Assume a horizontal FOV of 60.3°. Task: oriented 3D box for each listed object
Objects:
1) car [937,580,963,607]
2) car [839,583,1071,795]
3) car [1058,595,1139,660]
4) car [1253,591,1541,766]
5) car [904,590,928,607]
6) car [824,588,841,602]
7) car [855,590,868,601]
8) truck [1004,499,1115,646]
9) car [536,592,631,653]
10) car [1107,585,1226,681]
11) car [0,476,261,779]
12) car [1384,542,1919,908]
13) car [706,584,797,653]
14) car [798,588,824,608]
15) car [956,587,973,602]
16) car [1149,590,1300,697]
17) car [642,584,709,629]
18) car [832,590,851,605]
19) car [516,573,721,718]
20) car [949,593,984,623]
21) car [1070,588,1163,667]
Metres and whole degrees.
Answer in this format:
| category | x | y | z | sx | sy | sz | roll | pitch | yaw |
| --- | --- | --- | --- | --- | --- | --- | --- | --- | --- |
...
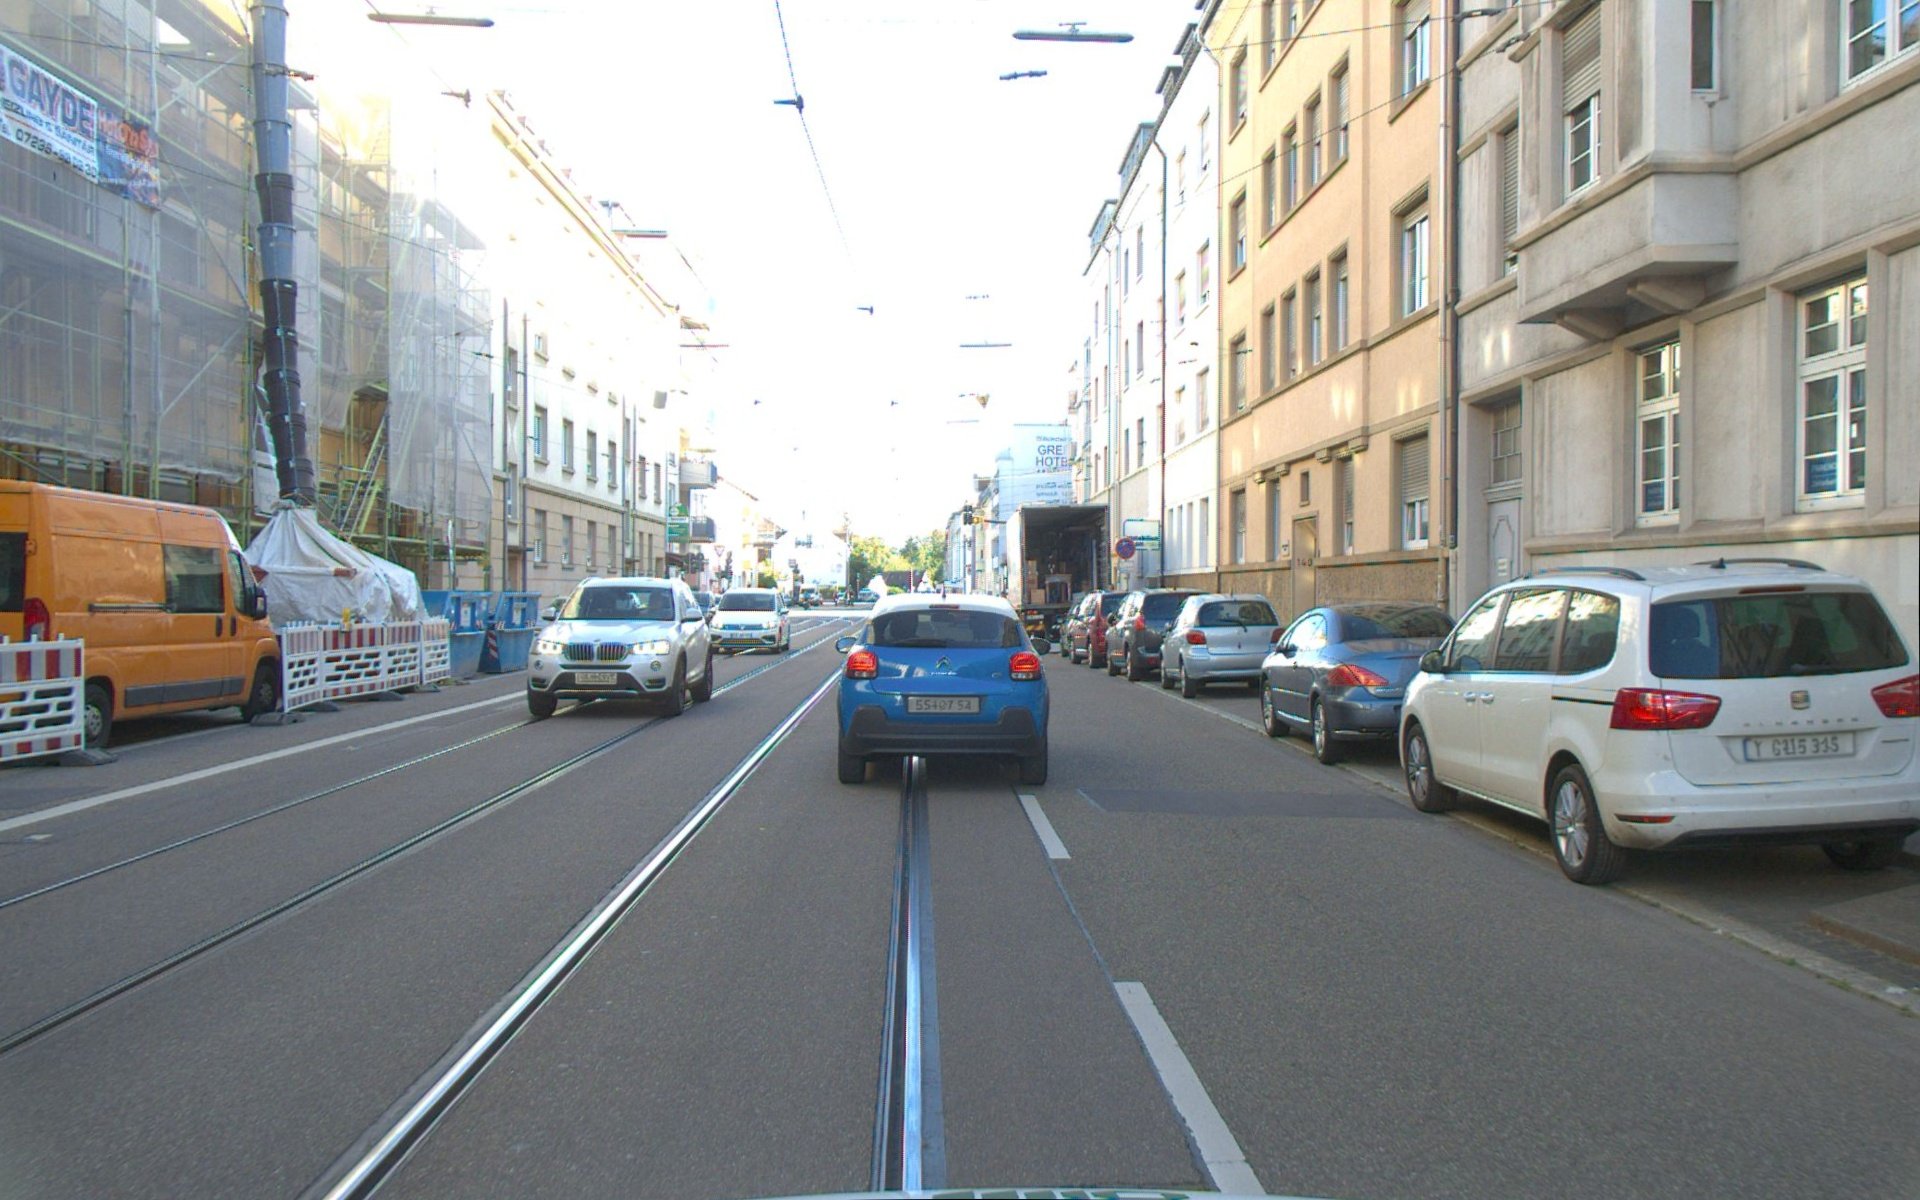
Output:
| category | x | y | z | sx | sy | sz | roll | pitch | yaw |
| --- | --- | --- | --- | --- | --- | --- | --- | --- | --- |
| car | -0.898 | -0.560 | 144.674 | 2.175 | 2.324 | 4.083 | 0 | 0 | -1 |
| car | -0.076 | 0.651 | 14.414 | 1.700 | 1.533 | 3.991 | 2 | 0 | -1 |
| car | 3.412 | 0.646 | 41.373 | 1.630 | 1.512 | 4.030 | 0 | 0 | -1 |
| car | 4.169 | 0.671 | 16.476 | 1.687 | 1.512 | 4.221 | 0 | 0 | -1 |
| car | -4.028 | -0.127 | 152.244 | 2.136 | 1.513 | 4.159 | 0 | 0 | -1 |
| car | -14.545 | -0.597 | 189.312 | 1.729 | 1.512 | 4.030 | 0 | 0 | -1 |
| car | -14.466 | -0.696 | 242.179 | 1.729 | 1.512 | 4.030 | 0 | 0 | -1 |
| truck | 2.965 | -0.813 | 52.582 | 2.795 | 4.154 | 11.270 | 0 | 0 | 0 |
| car | -9.999 | 0.573 | 44.146 | 1.679 | 1.544 | 4.046 | 0 | 0 | -1 |
| car | 3.782 | 0.563 | 30.882 | 1.630 | 1.675 | 4.221 | 0 | 0 | -1 |
| car | -8.846 | 0.196 | 16.213 | 2.102 | 2.518 | 4.977 | 1 | 0 | -3 |
| car | 4.257 | 0.620 | 10.789 | 1.695 | 1.859 | 4.685 | 0 | 0 | -1 |
| car | -5.294 | 0.439 | 42.404 | 1.863 | 1.660 | 4.266 | 0 | 0 | -1 |
| car | -12.411 | -0.150 | 137.798 | 1.863 | 1.660 | 4.266 | 0 | 0 | -1 |
| car | 0.480 | -0.614 | 173.721 | 1.729 | 1.512 | 4.030 | 0 | 0 | -1 |
| car | 4.068 | 0.612 | 26.045 | 1.630 | 1.546 | 4.221 | 0 | 0 | -1 |
| car | -10.734 | 0.224 | 62.677 | 1.789 | 1.660 | 4.847 | 0 | 0 | -1 |
| car | -12.269 | -0.280 | 170.789 | 1.729 | 1.512 | 4.030 | 0 | 0 | -1 |
| car | -4.264 | 0.513 | 21.361 | 1.789 | 1.660 | 4.489 | 0 | 0 | -1 |
| car | 0.313 | 0.412 | 85.671 | 1.729 | 1.512 | 4.030 | 0 | 0 | -1 |
| car | 3.436 | 0.569 | 36.893 | 1.630 | 1.661 | 3.870 | 0 | 0 | -1 |
